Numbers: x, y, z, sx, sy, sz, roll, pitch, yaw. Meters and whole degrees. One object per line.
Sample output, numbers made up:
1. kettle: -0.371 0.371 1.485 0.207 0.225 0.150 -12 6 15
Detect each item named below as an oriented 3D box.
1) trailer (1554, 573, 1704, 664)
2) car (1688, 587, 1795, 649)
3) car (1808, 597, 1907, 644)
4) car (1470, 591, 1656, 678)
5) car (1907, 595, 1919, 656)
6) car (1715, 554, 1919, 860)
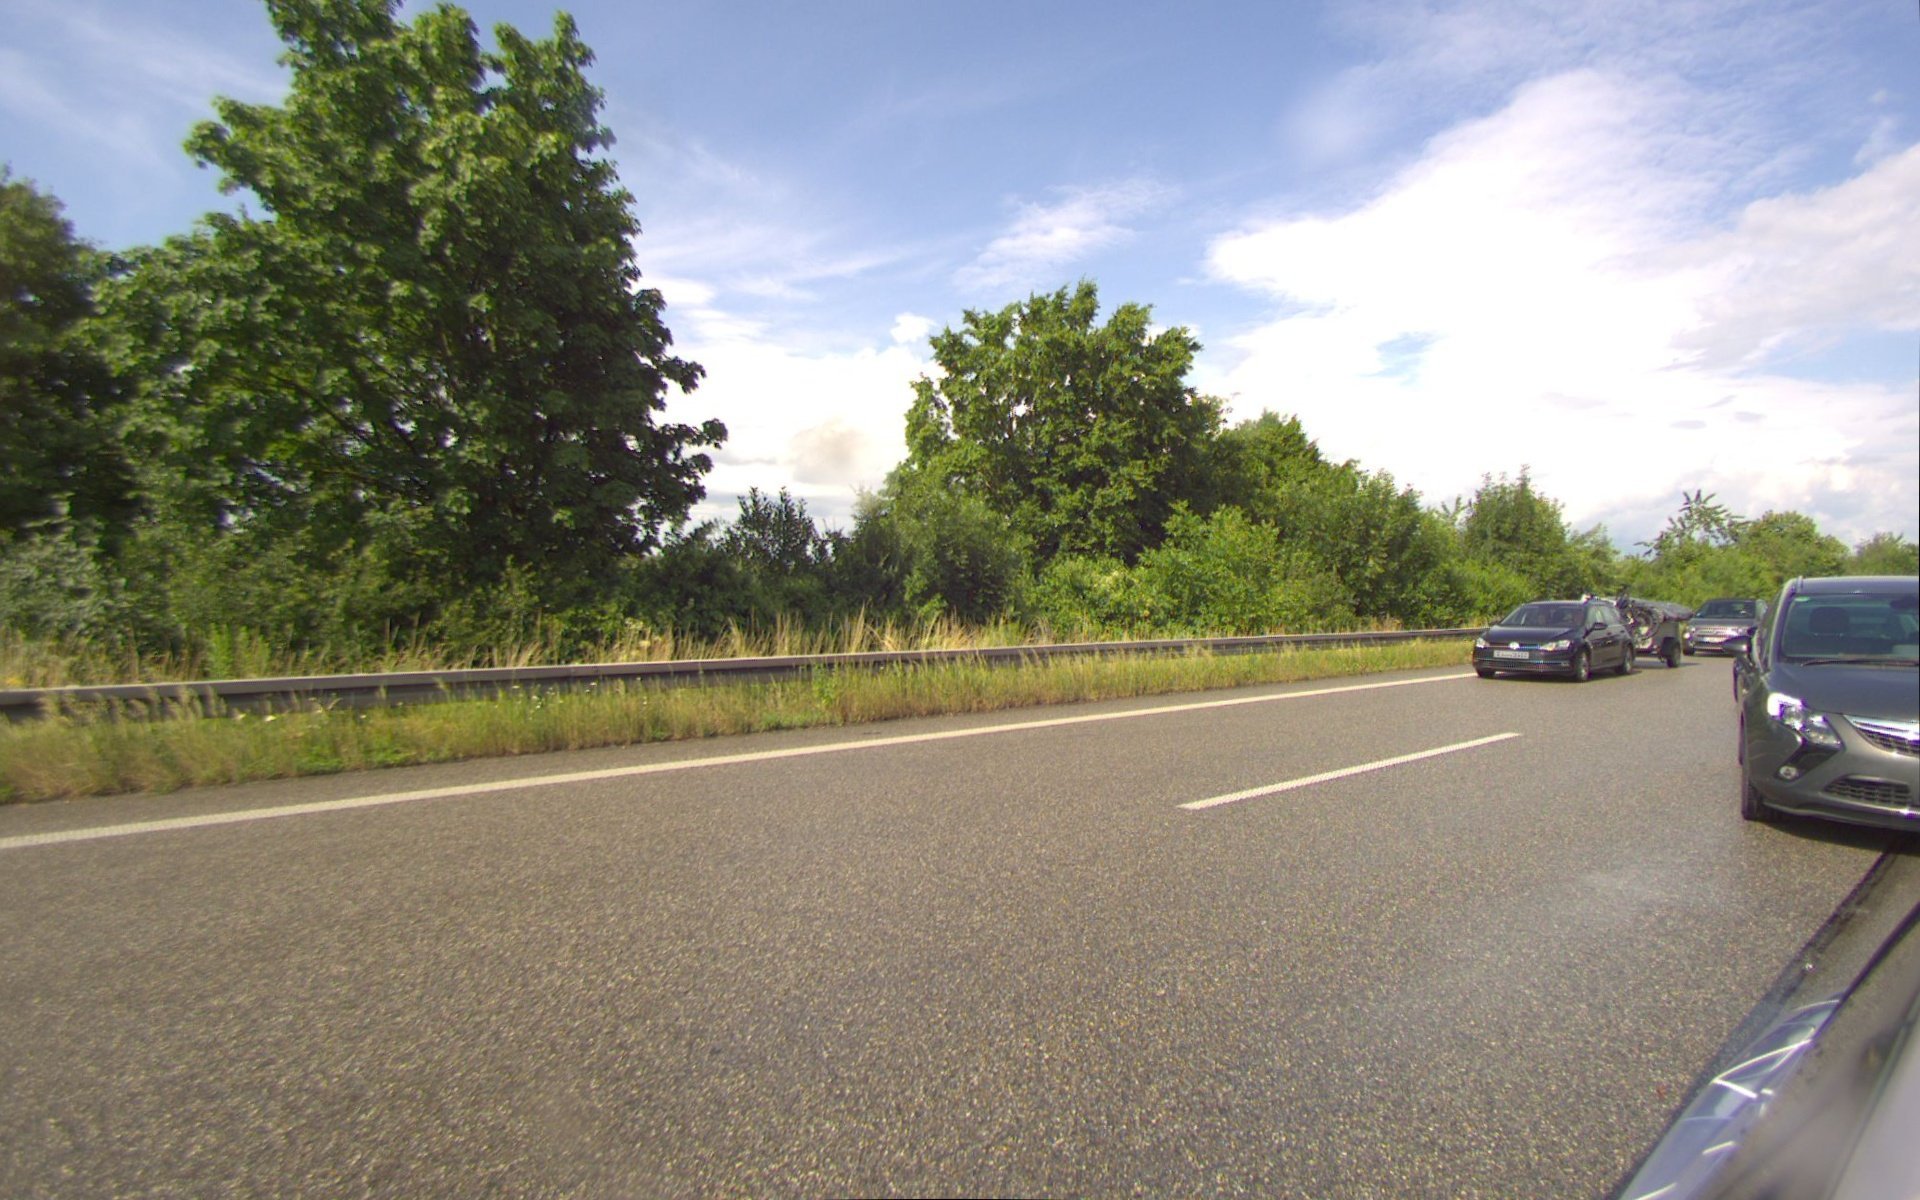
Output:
1. trailer: 14.426 0.359 21.757 3.900 1.768 1.808 0 0 -43
2. car: 20.266 0.416 26.213 3.421 1.507 1.614 0 1 -42
3. car: 28.566 0.604 32.156 4.499 1.368 1.770 0 1 -41
4. car: 11.378 0.555 18.975 4.328 1.449 1.746 0 1 -41
5. car: 23.750 0.592 23.805 3.930 1.382 1.743 0 1 -41
6. car: 6.721 0.565 7.191 1.852 1.652 4.665 0 1 41
